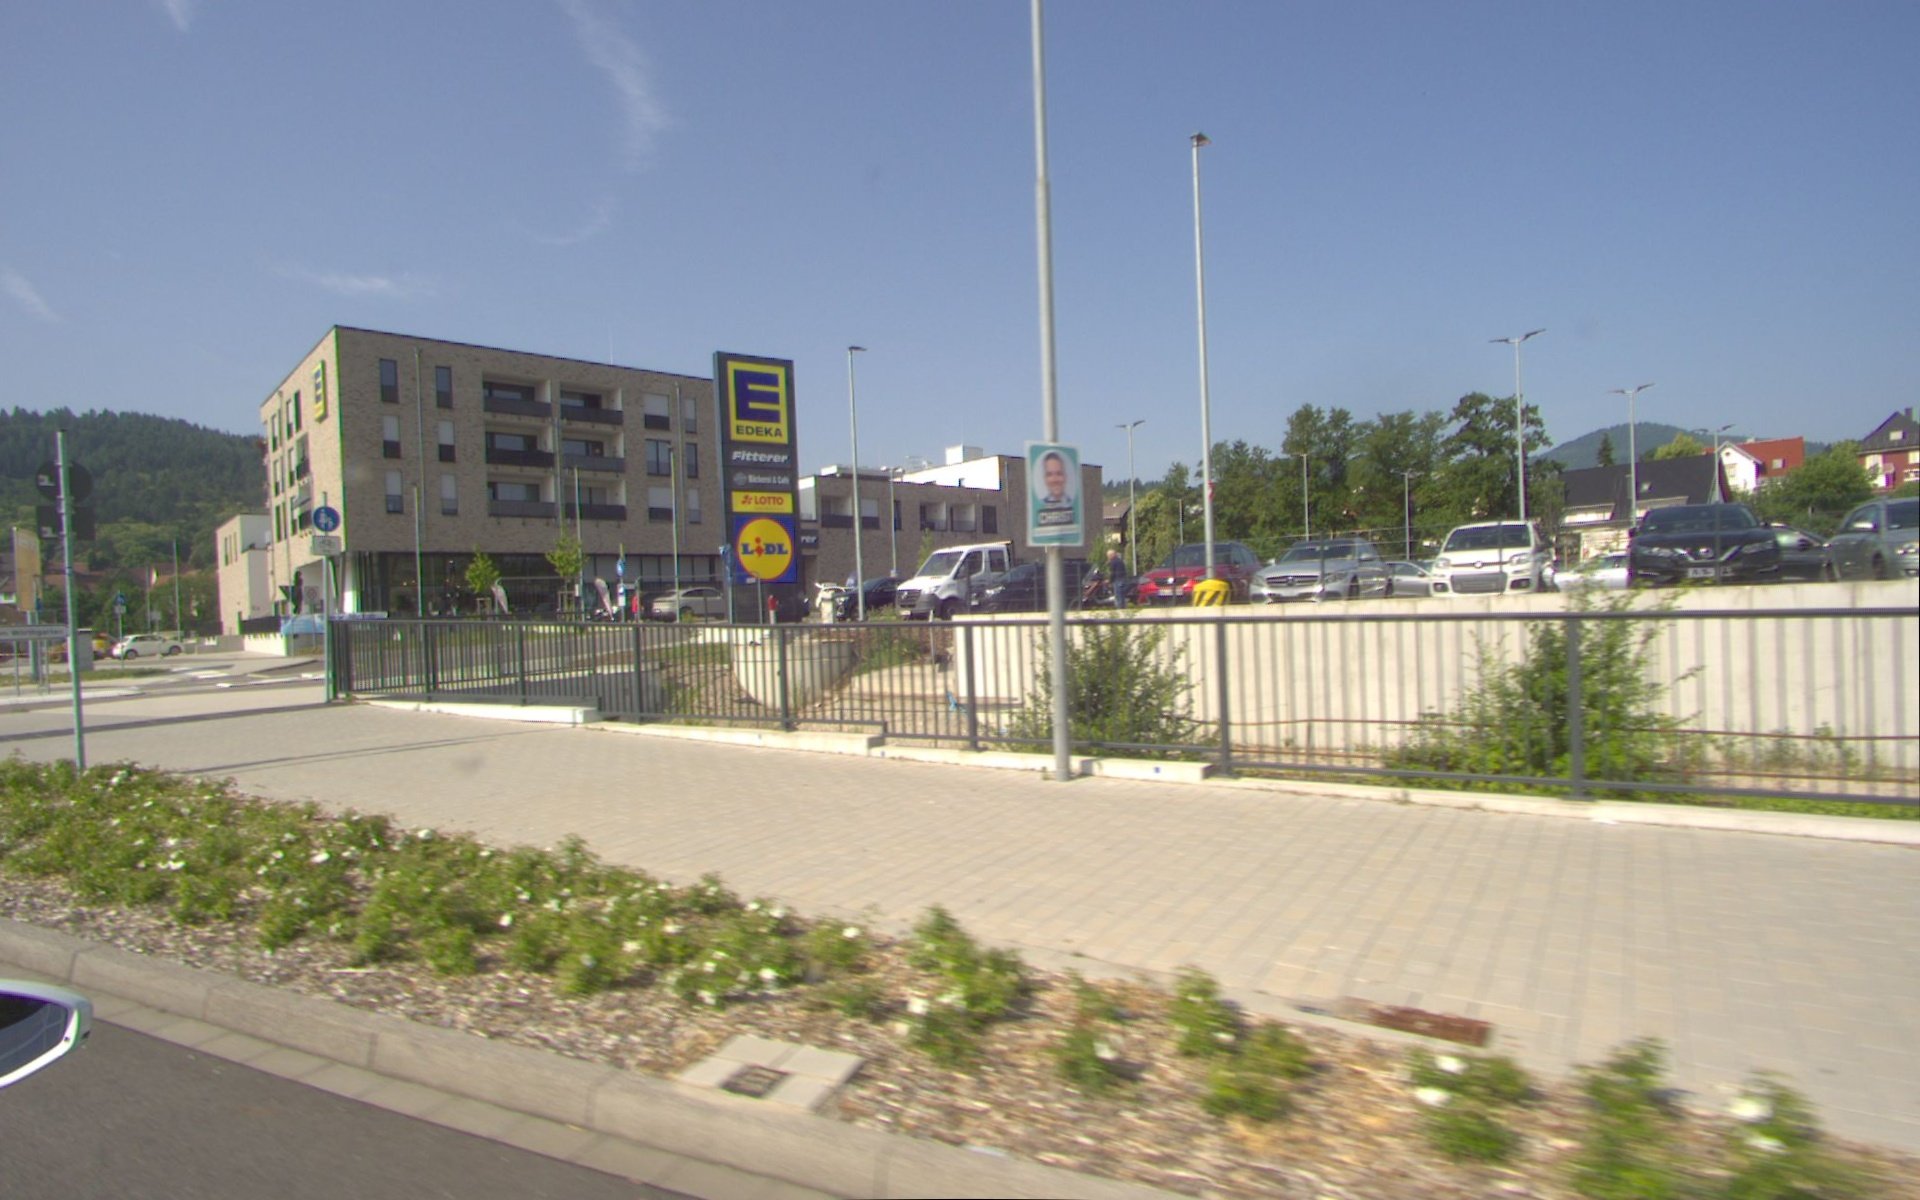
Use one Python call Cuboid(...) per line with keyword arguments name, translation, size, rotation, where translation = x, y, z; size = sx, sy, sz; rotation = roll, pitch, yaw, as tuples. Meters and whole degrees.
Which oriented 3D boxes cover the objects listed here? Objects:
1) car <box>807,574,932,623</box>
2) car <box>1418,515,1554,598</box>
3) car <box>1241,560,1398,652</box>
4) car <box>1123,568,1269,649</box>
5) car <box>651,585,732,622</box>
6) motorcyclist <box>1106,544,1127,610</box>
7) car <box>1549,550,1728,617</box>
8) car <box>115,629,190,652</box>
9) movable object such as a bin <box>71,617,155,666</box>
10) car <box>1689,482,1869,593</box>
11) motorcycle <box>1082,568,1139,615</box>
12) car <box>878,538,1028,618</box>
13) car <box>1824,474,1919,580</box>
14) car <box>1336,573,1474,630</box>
Cuboid(name="car", translation=(-3.088, -0.046, 34.419), size=(3.946, 1.467, 1.667), rotation=(-3, 1, -34))
Cuboid(name="car", translation=(8.993, -0.684, 16.979), size=(1.691, 1.215, 3.546), rotation=(-1, 0, 33))
Cuboid(name="car", translation=(6.766, 0.084, 18.609), size=(1.694, 1.507, 4.042), rotation=(-1, 0, 36))
Cuboid(name="car", translation=(4.749, 0.135, 19.820), size=(1.687, 1.449, 3.546), rotation=(-1, 0, 33))
Cuboid(name="car", translation=(-13.027, 0.148, 48.600), size=(3.463, 1.614, 1.473), rotation=(-3, 1, -44))
Cuboid(name="motorcyclist", translation=(3.765, -0.543, 24.100), size=(0.423, 1.553, 0.454), rotation=(-3, 1, 5))
Cuboid(name="car", translation=(18.710, -0.419, 27.699), size=(3.877, 1.631, 1.593), rotation=(-3, 0, 44))
Cuboid(name="car", translation=(-51.799, 2.598, 64.291), size=(1.449, 1.321, 3.463), rotation=(-1, 0, 35))
Cuboid(name="movable object such as a bin", translation=(-34.998, 1.693, 41.398), size=(1.413, 1.868, 2.429), rotation=(-2, 1, 42))
Cuboid(name="car", translation=(11.961, -0.832, 14.855), size=(1.637, 1.360, 4.026), rotation=(-1, 0, 33))
Cuboid(name="motorcycle", translation=(3.622, -0.196, 24.177), size=(1.264, 1.060, 0.559), rotation=(-3, 1, 4))
Cuboid(name="car", translation=(-0.187, -0.659, 29.695), size=(3.948, 2.164, 1.987), rotation=(-3, 1, -36))
Cuboid(name="car", translation=(13.211, -0.937, 13.591), size=(1.641, 1.262, 4.268), rotation=(-1, 0, 33))
Cuboid(name="car", translation=(14.336, 0.062, 32.346), size=(3.736, 1.631, 1.593), rotation=(-3, 0, 44))
